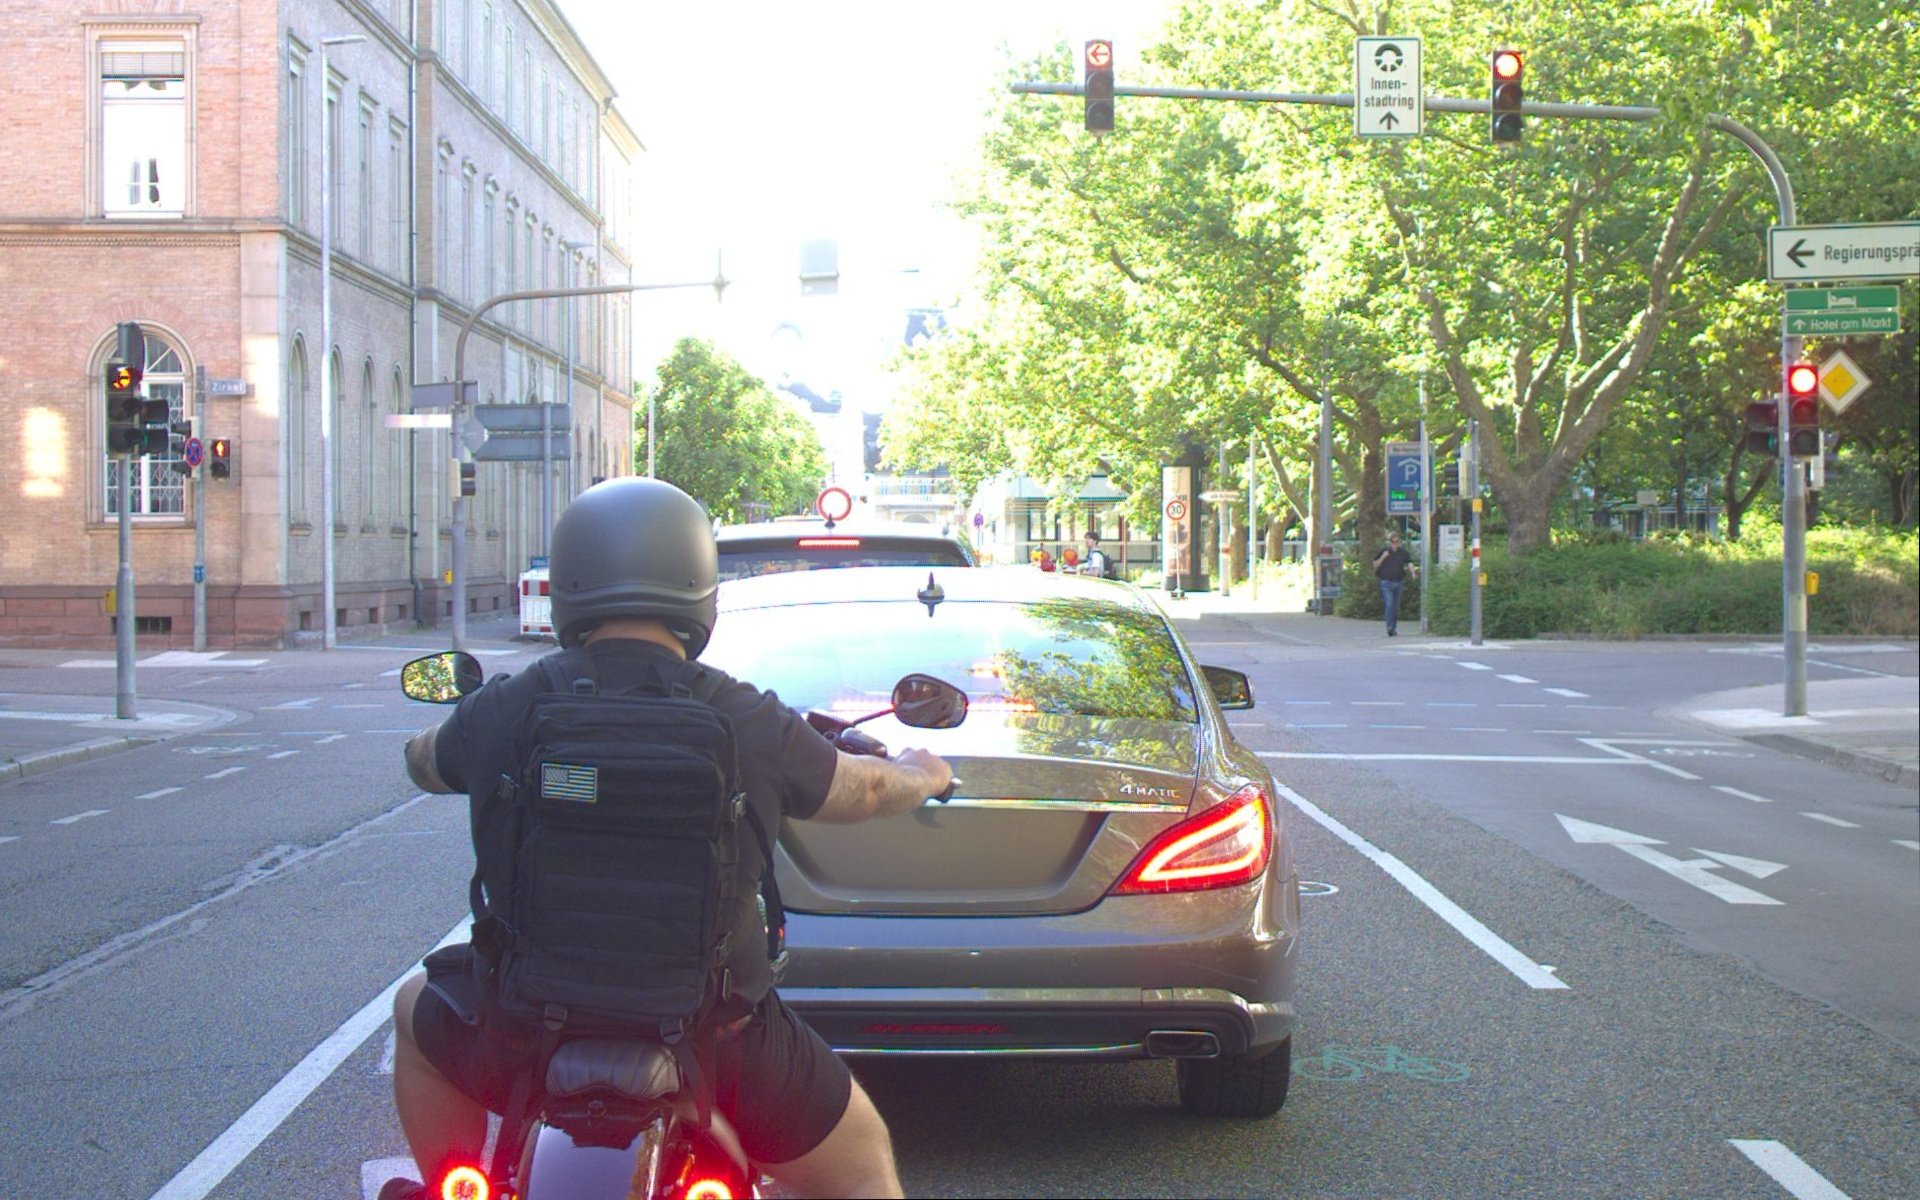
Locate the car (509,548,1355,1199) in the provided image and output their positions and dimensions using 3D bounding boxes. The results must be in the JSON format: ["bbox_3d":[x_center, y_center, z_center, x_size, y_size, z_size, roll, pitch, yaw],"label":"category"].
[{"bbox_3d":[-0.085,0.598,9.634,1.882,1.444,3.820,1,1,-1],"label":"car"}]

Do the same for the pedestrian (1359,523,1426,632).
[{"bbox_3d":[7.607,-0.395,60.475,0.749,1.903,0.926,1,0,-28],"label":"pedestrian"}]

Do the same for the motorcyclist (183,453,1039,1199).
[{"bbox_3d":[-0.485,0.599,5.315,1.149,1.593,1.288,1,0,-1],"label":"motorcyclist"}]

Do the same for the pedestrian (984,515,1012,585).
[{"bbox_3d":[1.114,-1.458,100.849,0.764,2.044,0.712,1,0,-1],"label":"pedestrian"}]

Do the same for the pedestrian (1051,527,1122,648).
[{"bbox_3d":[1.936,-0.200,52.616,1.002,1.820,1.076,1,0,6],"label":"pedestrian"}]

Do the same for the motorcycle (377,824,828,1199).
[{"bbox_3d":[-0.498,0.929,5.377,0.513,0.999,2.013,1,1,-1],"label":"motorcycle"}]

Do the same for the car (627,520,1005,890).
[{"bbox_3d":[-0.639,0.413,16.749,1.621,1.588,4.000,0,1,-1],"label":"car"}]
